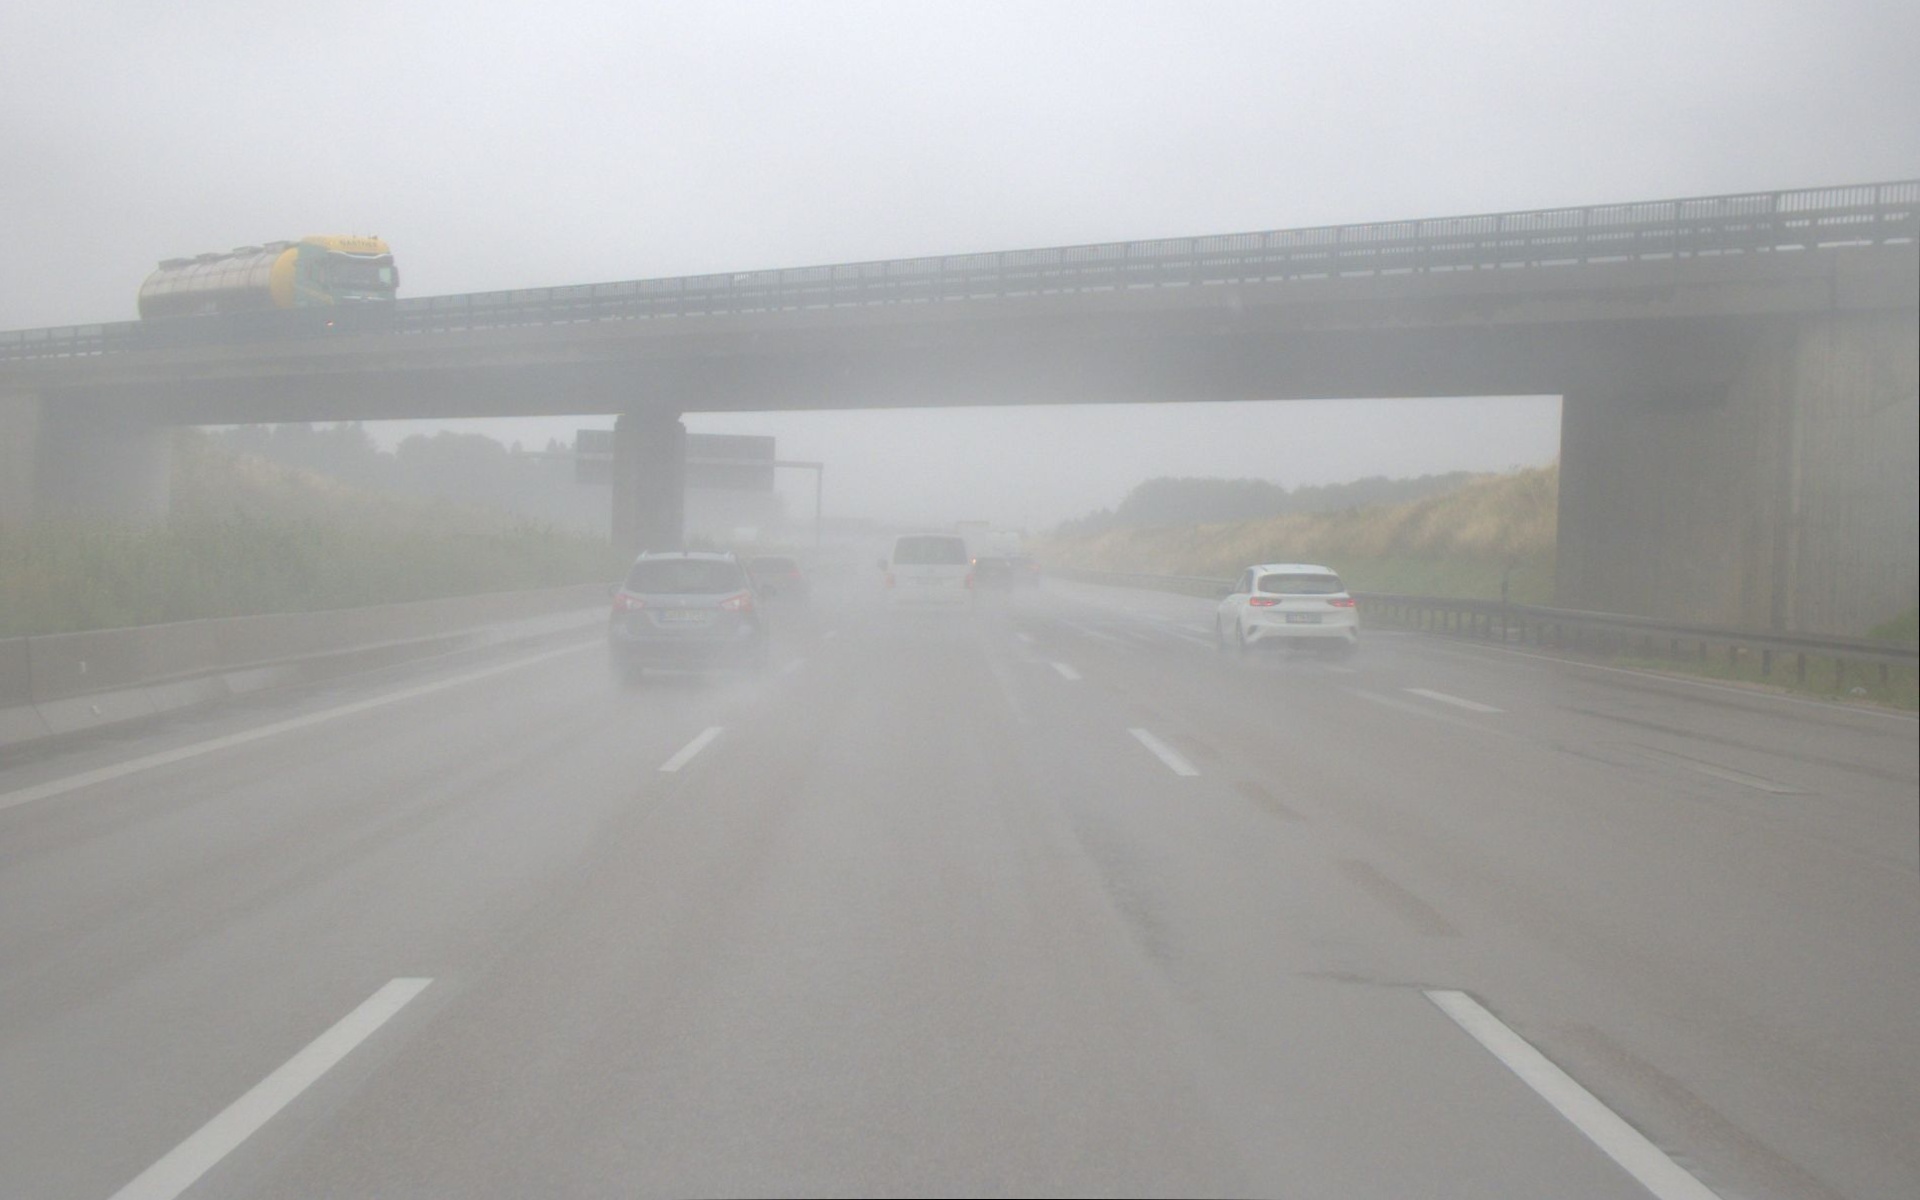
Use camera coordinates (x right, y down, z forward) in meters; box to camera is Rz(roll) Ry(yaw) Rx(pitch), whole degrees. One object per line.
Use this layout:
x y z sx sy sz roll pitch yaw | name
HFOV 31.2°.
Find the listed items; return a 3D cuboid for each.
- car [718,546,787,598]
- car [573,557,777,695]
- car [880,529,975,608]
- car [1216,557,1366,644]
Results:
-5.682 -0.765 94.510 1.689 1.349 4.000 1 0 -1 | car
-3.302 0.266 40.702 1.846 1.508 4.756 1 1 2 | car
-0.672 -0.647 71.771 1.897 1.580 4.000 1 0 0 | car
5.035 0.000 52.805 1.993 1.262 4.000 1 0 2 | car
